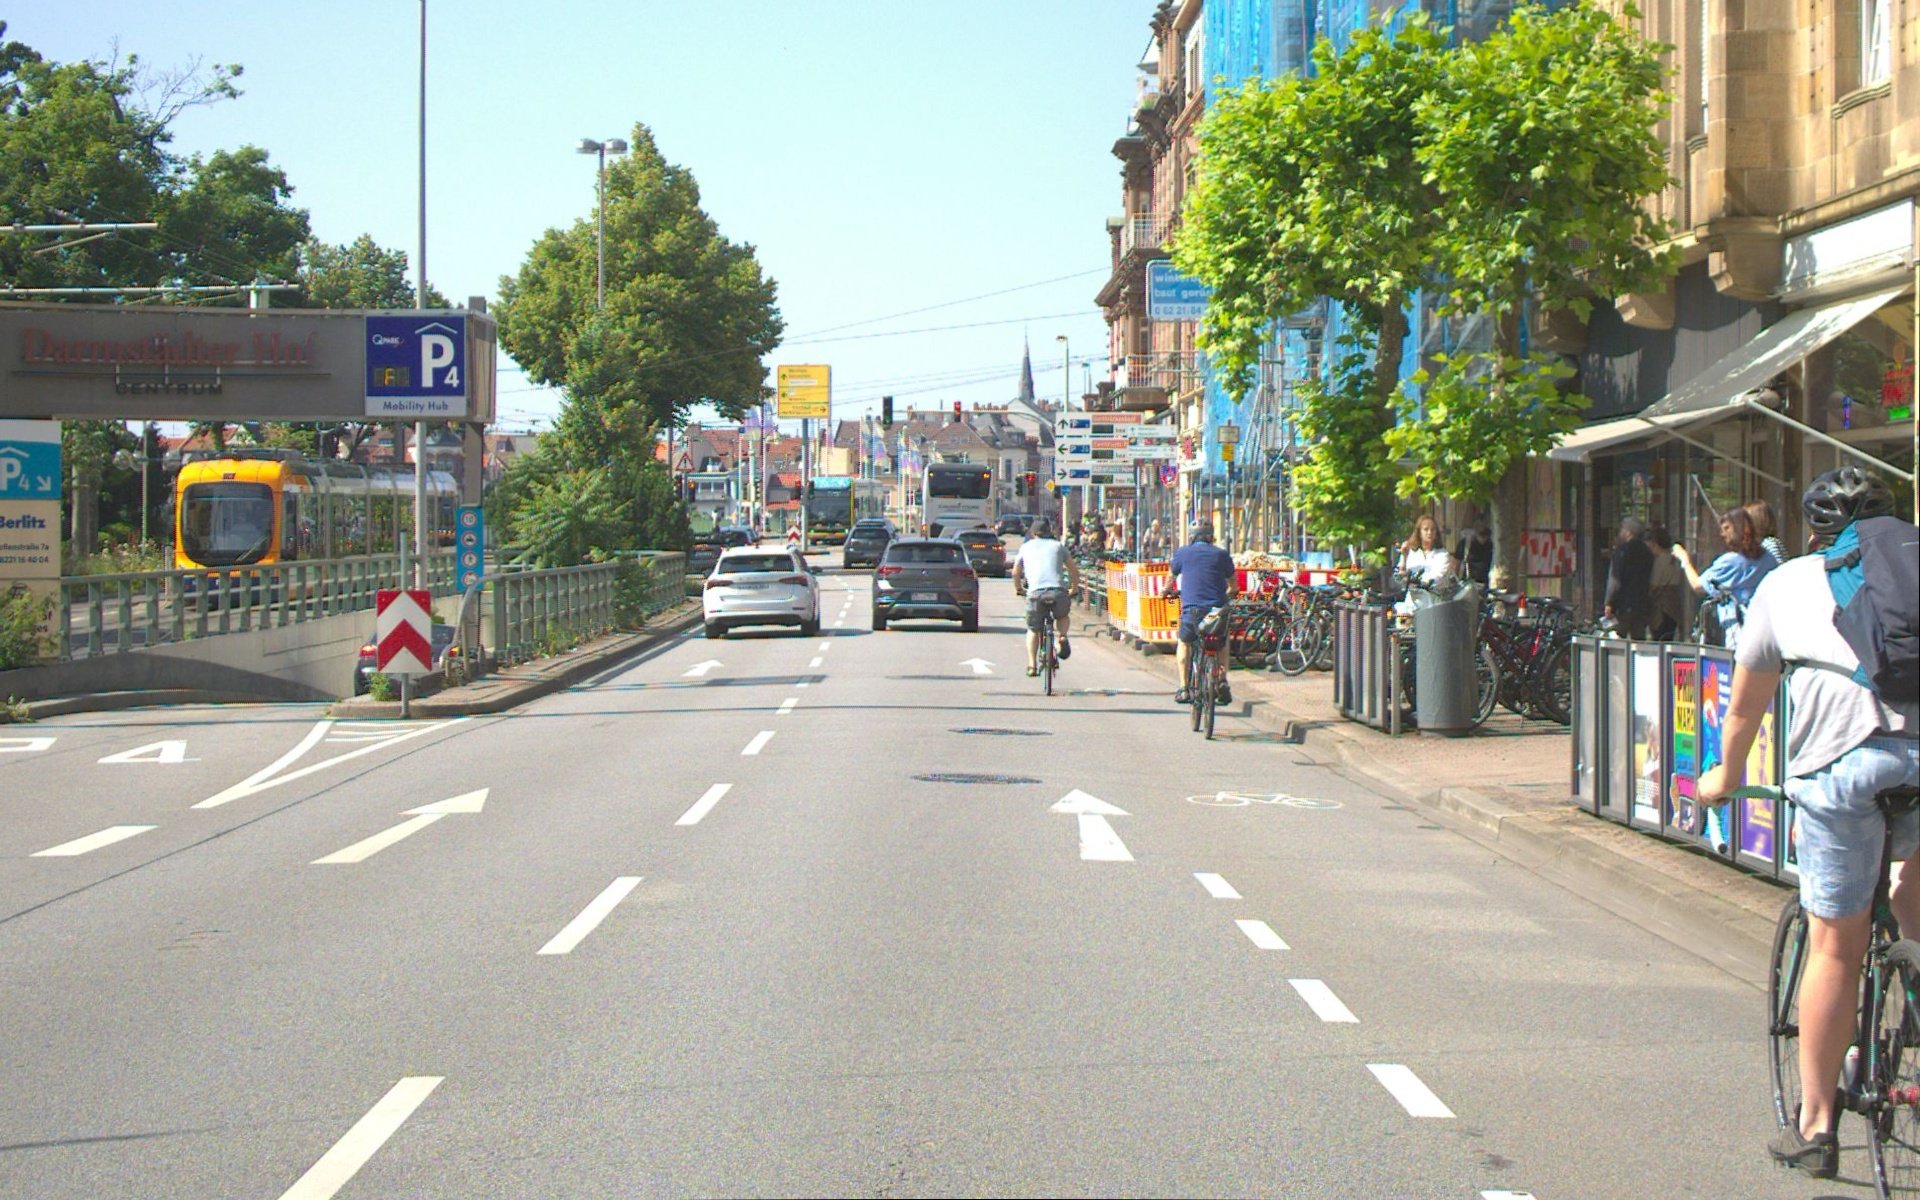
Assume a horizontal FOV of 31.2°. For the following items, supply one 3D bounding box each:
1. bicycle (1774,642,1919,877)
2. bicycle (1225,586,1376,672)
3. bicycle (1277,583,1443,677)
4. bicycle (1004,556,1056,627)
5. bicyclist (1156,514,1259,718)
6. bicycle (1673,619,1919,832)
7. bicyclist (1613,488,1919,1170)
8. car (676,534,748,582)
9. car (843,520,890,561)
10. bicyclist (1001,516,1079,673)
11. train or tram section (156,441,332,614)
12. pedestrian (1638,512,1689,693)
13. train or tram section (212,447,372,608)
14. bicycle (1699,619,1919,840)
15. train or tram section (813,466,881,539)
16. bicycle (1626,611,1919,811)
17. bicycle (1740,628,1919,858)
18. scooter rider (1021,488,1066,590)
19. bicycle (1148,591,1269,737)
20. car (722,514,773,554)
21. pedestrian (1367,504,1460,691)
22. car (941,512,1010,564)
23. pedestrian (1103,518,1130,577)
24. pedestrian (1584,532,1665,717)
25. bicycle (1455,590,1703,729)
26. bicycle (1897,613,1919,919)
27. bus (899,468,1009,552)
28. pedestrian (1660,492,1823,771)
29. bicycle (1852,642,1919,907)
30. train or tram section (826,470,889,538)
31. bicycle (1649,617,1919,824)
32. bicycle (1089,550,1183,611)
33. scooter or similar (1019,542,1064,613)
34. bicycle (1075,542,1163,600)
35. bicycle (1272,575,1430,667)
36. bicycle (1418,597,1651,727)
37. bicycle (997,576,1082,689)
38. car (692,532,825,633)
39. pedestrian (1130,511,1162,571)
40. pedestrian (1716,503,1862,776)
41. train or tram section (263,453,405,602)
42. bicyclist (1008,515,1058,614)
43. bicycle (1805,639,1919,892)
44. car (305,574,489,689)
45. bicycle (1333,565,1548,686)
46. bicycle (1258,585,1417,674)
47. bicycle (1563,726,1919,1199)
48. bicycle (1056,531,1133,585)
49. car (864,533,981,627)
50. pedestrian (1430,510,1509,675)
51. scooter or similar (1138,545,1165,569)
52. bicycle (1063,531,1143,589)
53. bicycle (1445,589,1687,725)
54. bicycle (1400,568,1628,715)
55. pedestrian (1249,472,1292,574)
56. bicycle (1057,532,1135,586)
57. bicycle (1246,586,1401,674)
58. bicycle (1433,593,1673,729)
[{"bbox_3d":[4.441,0.683,14.864,1.717,0.981,0.483,0,1,-2],"label":"bicycle"},{"bbox_3d":[4.108,0.350,41.523,1.752,1.014,0.483,0,1,-2],"label":"bicycle"},{"bbox_3d":[4.376,0.326,37.647,1.752,1.014,0.483,0,1,-2],"label":"bicycle"},{"bbox_3d":[1.135,-0.147,55.848,0.734,1.089,1.898,2,1,-1],"label":"bicycle"},{"bbox_3d":[1.994,0.118,27.838,0.688,1.610,0.918,2,1,-2],"label":"bicyclist"},{"bbox_3d":[4.429,0.607,16.852,1.752,1.014,0.483,0,1,-2],"label":"bicycle"},{"bbox_3d":[2.011,0.486,7.964,0.688,1.458,1.143,2,1,-2],"label":"bicyclist"},{"bbox_3d":[-7.388,-1.271,102.703,1.815,1.327,4.000,2,1,0],"label":"car"},{"bbox_3d":[-3.174,-2.013,115.939,1.451,1.296,3.342,2,1,-3],"label":"car"},{"bbox_3d":[0.820,-0.068,35.319,0.688,1.571,1.049,2,1,-2],"label":"bicyclist"},{"bbox_3d":[-15.601,-1.586,75.280,2.613,3.569,6.104,2,1,-1],"label":"train or tram section"},{"bbox_3d":[6.562,0.018,32.071,0.381,1.677,0.476,-1,1,19],"label":"pedestrian"},{"bbox_3d":[-15.732,-1.715,81.363,2.613,3.569,6.104,2,1,-1],"label":"train or tram section"},{"bbox_3d":[4.442,0.608,16.316,1.752,1.014,0.483,0,1,-2],"label":"bicycle"},{"bbox_3d":[-5.821,-5.027,178.392,2.822,3.568,10.032,2,1,2],"label":"train or tram section"},{"bbox_3d":[4.393,0.573,17.885,1.752,1.014,0.483,0,1,-2],"label":"bicycle"},{"bbox_3d":[4.475,0.642,15.589,1.752,1.014,0.483,0,1,-2],"label":"bicycle"},{"bbox_3d":[1.433,-1.048,58.952,0.688,1.723,0.778,2,1,-1],"label":"scooter rider"},{"bbox_3d":[1.991,0.499,27.802,0.734,1.089,1.911,2,1,-2],"label":"bicycle"},{"bbox_3d":[-7.243,-2.247,117.482,1.451,1.296,4.000,2,1,0],"label":"car"},{"bbox_3d":[4.113,-0.025,31.210,0.656,1.677,0.653,0,0,-11],"label":"pedestrian"},{"bbox_3d":[0.466,-1.883,104.429,1.993,1.487,4.000,2,1,0],"label":"car"},{"bbox_3d":[4.326,-1.447,94.806,0.654,1.615,0.815,-1,2,-2],"label":"pedestrian"},{"bbox_3d":[6.136,0.220,31.760,0.535,1.677,0.500,-2,0,-12],"label":"pedestrian"},{"bbox_3d":[4.621,0.442,25.689,1.752,1.014,0.483,0,1,-2],"label":"bicycle"},{"bbox_3d":[4.488,0.631,13.002,1.752,1.143,0.483,0,1,-2],"label":"bicycle"},{"bbox_3d":[-0.283,-3.144,120.614,2.968,2.767,8.643,2,1,-6],"label":"bus"},{"bbox_3d":[4.672,0.178,20.579,0.695,1.620,0.702,-2,1,-11],"label":"pedestrian"},{"bbox_3d":[4.477,0.682,13.615,1.752,1.014,0.483,0,1,-2],"label":"bicycle"},{"bbox_3d":[-5.559,-5.207,187.548,2.822,3.569,8.226,2,1,2],"label":"train or tram section"},{"bbox_3d":[4.412,0.603,17.370,1.752,1.014,0.483,0,1,-2],"label":"bicycle"},{"bbox_3d":[3.263,-0.369,63.825,1.693,1.093,0.608,1,1,0],"label":"bicycle"},{"bbox_3d":[1.396,-0.392,58.927,0.688,1.163,1.464,2,1,-1],"label":"scooter or similar"},{"bbox_3d":[3.275,-0.599,70.895,1.771,1.174,0.608,1,1,0],"label":"bicycle"},{"bbox_3d":[4.400,0.227,38.640,1.752,1.014,0.483,0,1,-23],"label":"bicycle"},{"bbox_3d":[4.571,0.488,27.405,1.752,1.014,0.557,0,1,-2],"label":"bicycle"},{"bbox_3d":[0.807,0.320,35.377,0.734,1.089,1.898,2,1,-2],"label":"bicycle"},{"bbox_3d":[-3.224,-0.312,55.683,1.858,1.502,4.000,-2,1,0],"label":"car"},{"bbox_3d":[5.304,-1.687,97.896,0.755,1.650,0.837,-4,1,-1],"label":"pedestrian"},{"bbox_3d":[5.095,0.233,21.141,0.599,1.620,0.644,-3,1,-10],"label":"pedestrian"},{"bbox_3d":[-15.815,-1.835,87.110,2.613,3.569,5.357,2,1,-1],"label":"train or tram section"},{"bbox_3d":[1.181,-0.583,55.708,0.688,1.571,1.049,2,1,-2],"label":"bicyclist"},{"bbox_3d":[4.444,0.680,14.256,1.752,1.014,0.483,0,1,-2],"label":"bicycle"},{"bbox_3d":[-8.167,0.429,50.201,1.993,1.503,4.000,2,1,0],"label":"car"},{"bbox_3d":[4.198,0.209,30.051,1.754,1.014,0.657,1,1,22],"label":"bicycle"},{"bbox_3d":[4.342,0.337,39.573,1.752,1.014,0.483,0,1,-2],"label":"bicycle"},{"bbox_3d":[1.999,0.905,7.916,0.734,1.089,2.131,2,1,-2],"label":"bicycle"},{"bbox_3d":[3.020,-0.937,77.170,1.693,1.174,0.451,1,1,0],"label":"bicycle"},{"bbox_3d":[-0.603,-0.365,58.148,1.873,1.487,4.000,2,1,0],"label":"car"},{"bbox_3d":[5.819,-0.090,39.307,0.814,1.842,0.891,-1,1,7],"label":"pedestrian"},{"bbox_3d":[5.413,-1.219,97.336,0.691,0.648,0.565,-4,1,-1],"label":"scooter or similar"},{"bbox_3d":[3.130,-0.887,75.282,1.693,1.236,0.608,1,1,0],"label":"bicycle"},{"bbox_3d":[4.614,0.433,26.224,1.752,1.014,0.483,0,1,-2],"label":"bicycle"},{"bbox_3d":[4.513,0.330,28.067,1.752,1.177,0.579,0,1,-2],"label":"bicycle"},{"bbox_3d":[5.472,-1.352,60.658,0.639,1.770,0.649,2,1,-1],"label":"pedestrian"},{"bbox_3d":[3.029,-0.918,76.586,1.693,1.174,0.491,1,1,0],"label":"bicycle"},{"bbox_3d":[4.256,0.353,40.343,1.752,1.014,0.483,0,1,-2],"label":"bicycle"},{"bbox_3d":[4.615,0.472,26.815,1.752,1.014,0.587,-1,1,-2],"label":"bicycle"}]
